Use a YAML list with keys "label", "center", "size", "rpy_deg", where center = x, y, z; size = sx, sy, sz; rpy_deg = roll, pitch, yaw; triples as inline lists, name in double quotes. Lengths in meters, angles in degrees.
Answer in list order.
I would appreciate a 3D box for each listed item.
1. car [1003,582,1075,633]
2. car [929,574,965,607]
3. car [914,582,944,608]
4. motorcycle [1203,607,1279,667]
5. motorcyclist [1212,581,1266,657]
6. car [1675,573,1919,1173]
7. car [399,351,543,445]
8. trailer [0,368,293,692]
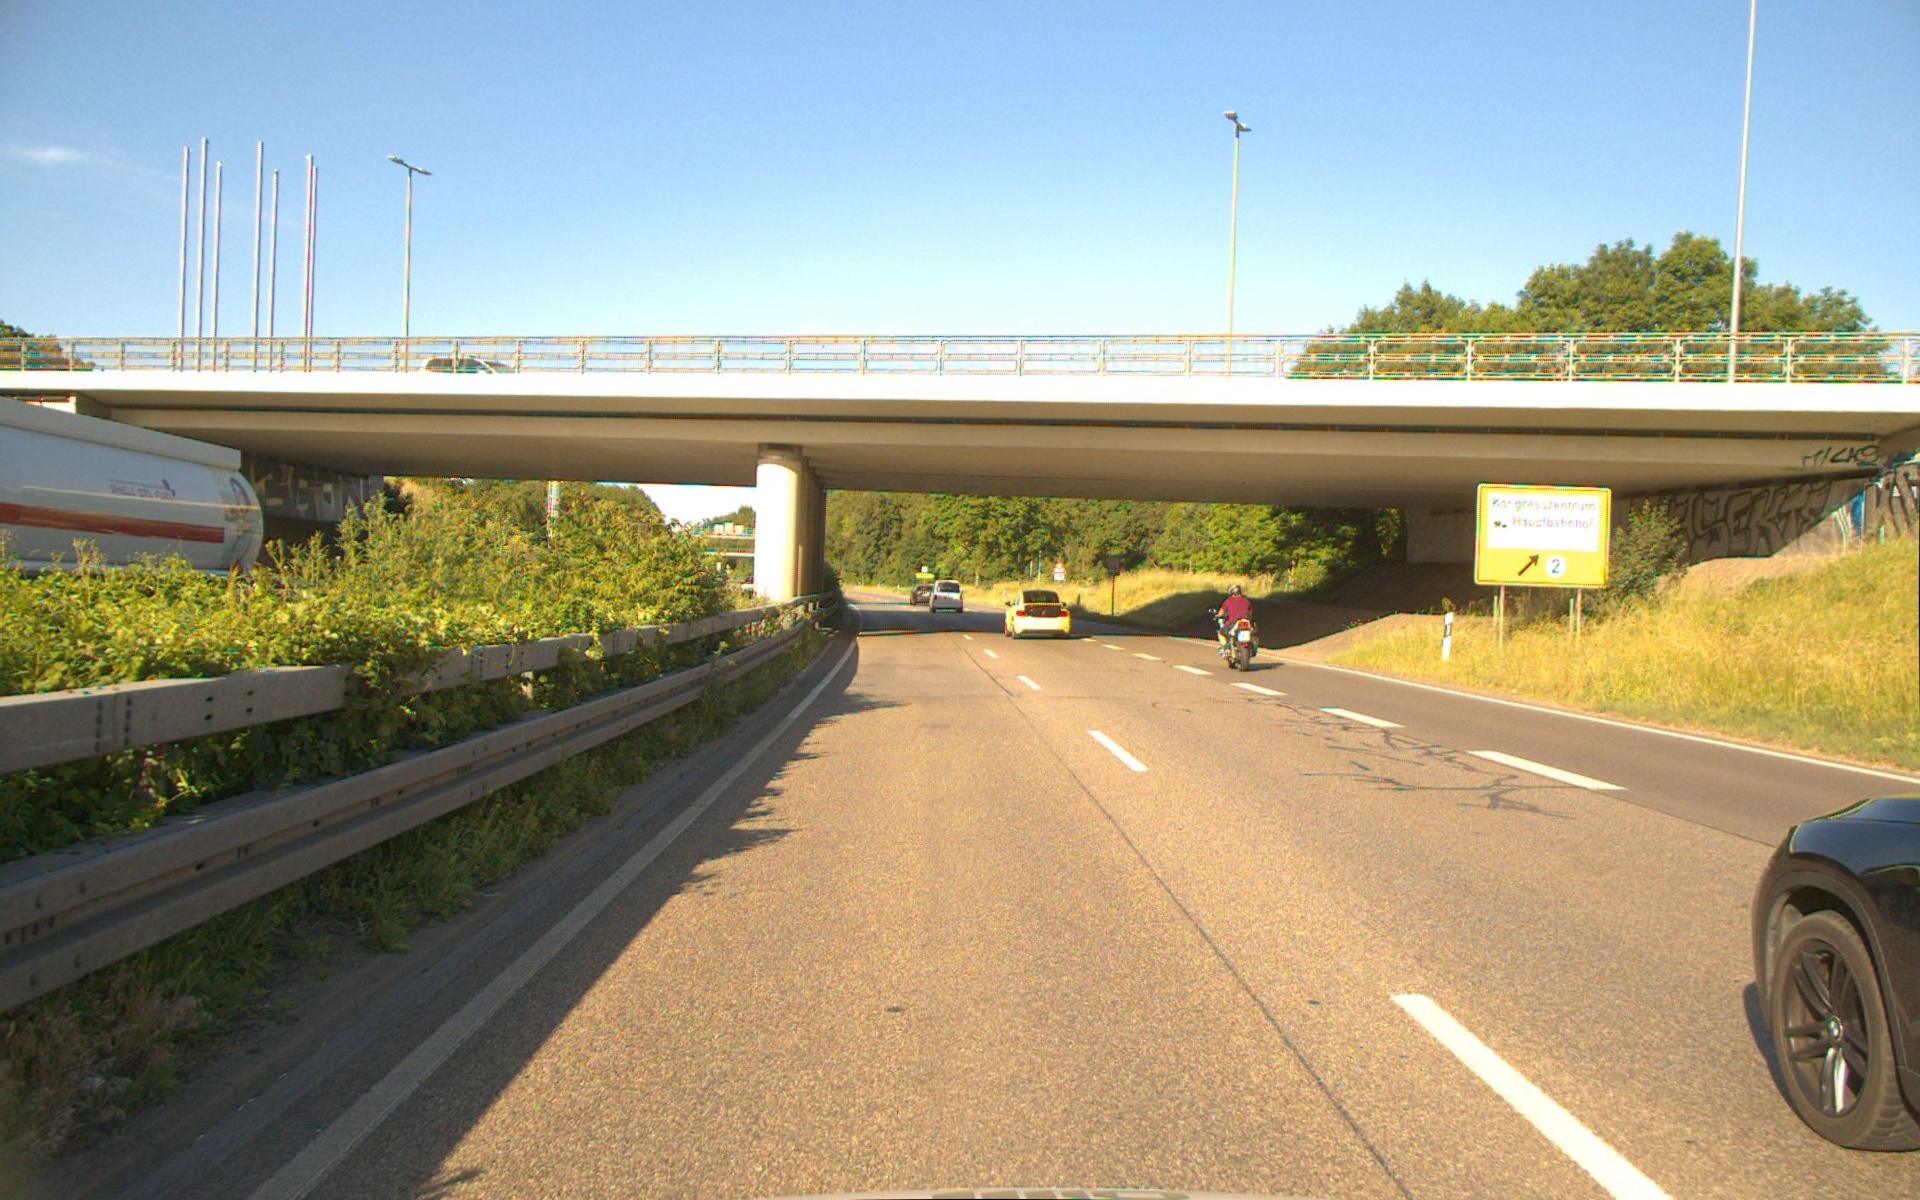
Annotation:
- label: "car"
  center: [2.413, 0.215, 51.392]
  size: [1.859, 1.496, 3.998]
  rpy_deg: [0, 1, -3]
- label: "car"
  center: [-0.767, -0.524, 93.894]
  size: [1.859, 1.798, 3.998]
  rpy_deg: [0, 0, -3]
- label: "car"
  center: [-2.218, -0.368, 117.445]
  size: [1.860, 1.798, 3.997]
  rpy_deg: [0, 1, -4]
- label: "motorcycle"
  center: [5.494, 0.700, 32.531]
  size: [0.800, 1.088, 2.833]
  rpy_deg: [1, 0, -5]
- label: "motorcyclist"
  center: [5.497, 0.366, 32.643]
  size: [0.800, 1.472, 1.092]
  rpy_deg: [1, 0, -5]
- label: "car"
  center: [3.283, 0.695, 3.331]
  size: [1.664, 1.532, 4.578]
  rpy_deg: [-1, 0, -1]
- label: "car"
  center: [-16.568, -6.795, 56.064]
  size: [4.221, 2.854, 2.081]
  rpy_deg: [2, 0, 22]
- label: "trailer"
  center: [-12.443, -0.862, 21.563]
  size: [2.720, 3.721, 12.202]
  rpy_deg: [2, 1, -1]
